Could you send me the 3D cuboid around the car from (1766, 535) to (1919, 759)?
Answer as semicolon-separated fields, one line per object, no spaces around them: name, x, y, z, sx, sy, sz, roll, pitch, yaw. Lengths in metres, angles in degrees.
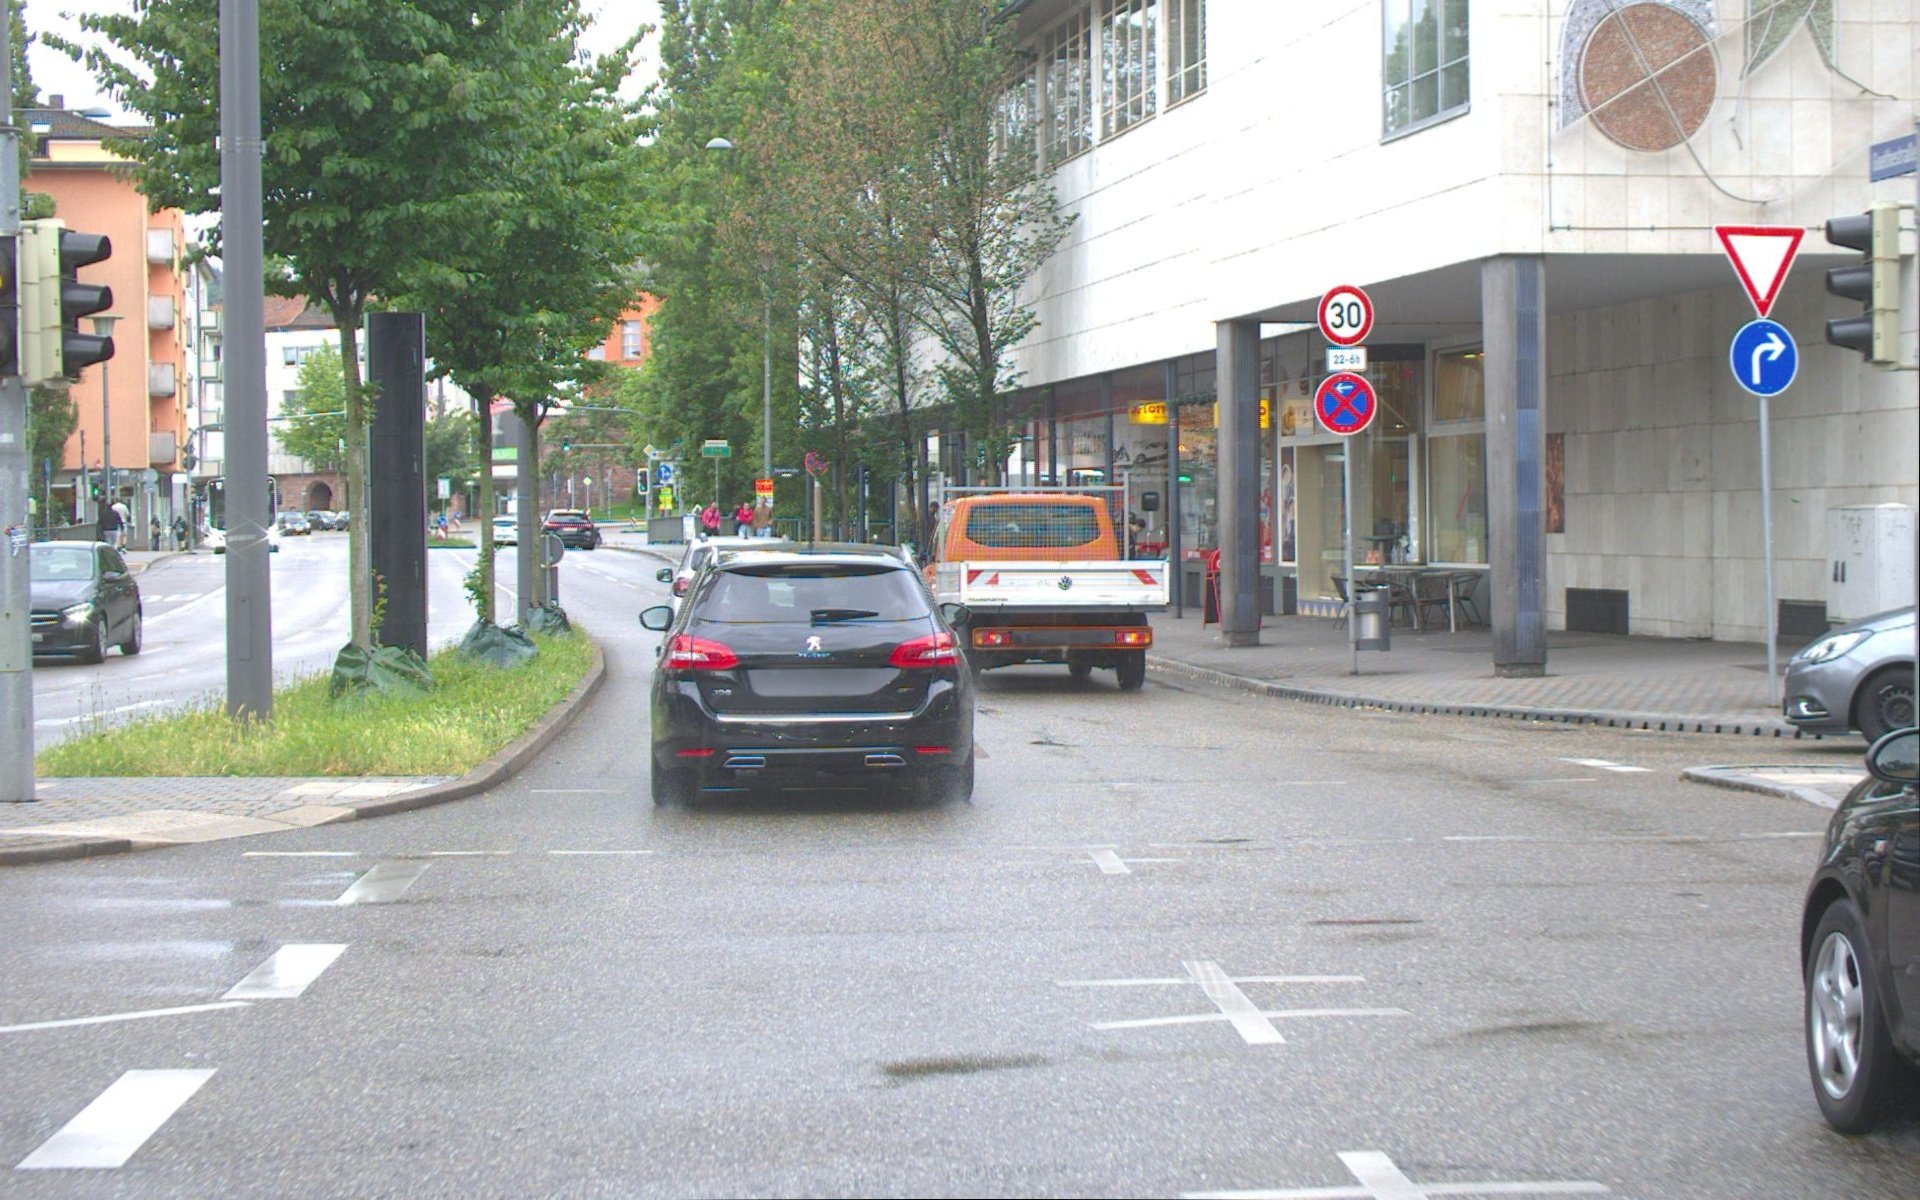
car;7.636;0.326;23.250;3.991;1.472;1.998;1;0;22

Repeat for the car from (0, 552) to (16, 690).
car;-10.796;0.261;33.964;1.757;1.415;4.097;-2;0;0

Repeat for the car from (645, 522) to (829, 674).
car;-2.273;-0.063;35.893;1.795;1.478;4.001;-1;1;-2

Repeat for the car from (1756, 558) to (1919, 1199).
car;3.053;0.667;7.249;1.708;1.452;3.743;1;1;-3

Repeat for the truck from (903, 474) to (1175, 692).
truck;0.709;-0.172;34.575;2.121;2.018;4.716;1;0;-6

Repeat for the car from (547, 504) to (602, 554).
car;-13.700;-2.502;122.042;1.644;1.559;3.601;2;-1;-10

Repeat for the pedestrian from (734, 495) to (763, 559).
pedestrian;-5.890;-2.036;95.550;0.653;1.761;0.923;-2;2;-10

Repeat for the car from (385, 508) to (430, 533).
car;-37.875;-5.424;235.723;1.645;1.559;3.600;3;-2;-34

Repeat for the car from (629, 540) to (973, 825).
car;-0.844;0.415;19.938;1.795;1.478;4.000;0;0;0

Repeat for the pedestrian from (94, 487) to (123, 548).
pedestrian;-25.181;-2.422;101.642;0.698;1.788;0.959;0;1;-7

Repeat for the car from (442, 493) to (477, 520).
car;-32.781;-6.116;225.114;1.993;1.678;4.001;-1;1;-13

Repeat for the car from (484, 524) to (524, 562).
car;-21.143;-2.635;159.292;1.644;1.559;3.601;2;-1;-10

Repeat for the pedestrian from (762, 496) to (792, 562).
pedestrian;-5.092;-1.977;95.640;0.698;1.795;0.607;-2;2;-10

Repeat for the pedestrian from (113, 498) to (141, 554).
pedestrian;-27.194;-2.414;112.180;0.797;1.788;0.812;0;1;-7

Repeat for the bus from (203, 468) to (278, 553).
bus;-28.506;-3.631;136.353;2.743;3.065;12.242;-1;3;-12

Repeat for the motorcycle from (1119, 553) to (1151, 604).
motorcycle;2.875;-0.359;56.458;0.324;0.801;0.920;-1;2;-10

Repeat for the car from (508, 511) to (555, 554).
car;-17.325;-2.728;138.988;1.644;1.559;3.601;2;-1;-10

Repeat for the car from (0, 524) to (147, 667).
car;-11.792;-0.082;44.586;1.827;1.730;4.260;-2;1;-6

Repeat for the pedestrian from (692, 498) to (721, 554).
pedestrian;-7.530;-2.197;102.052;0.717;1.614;0.769;-2;2;-10
